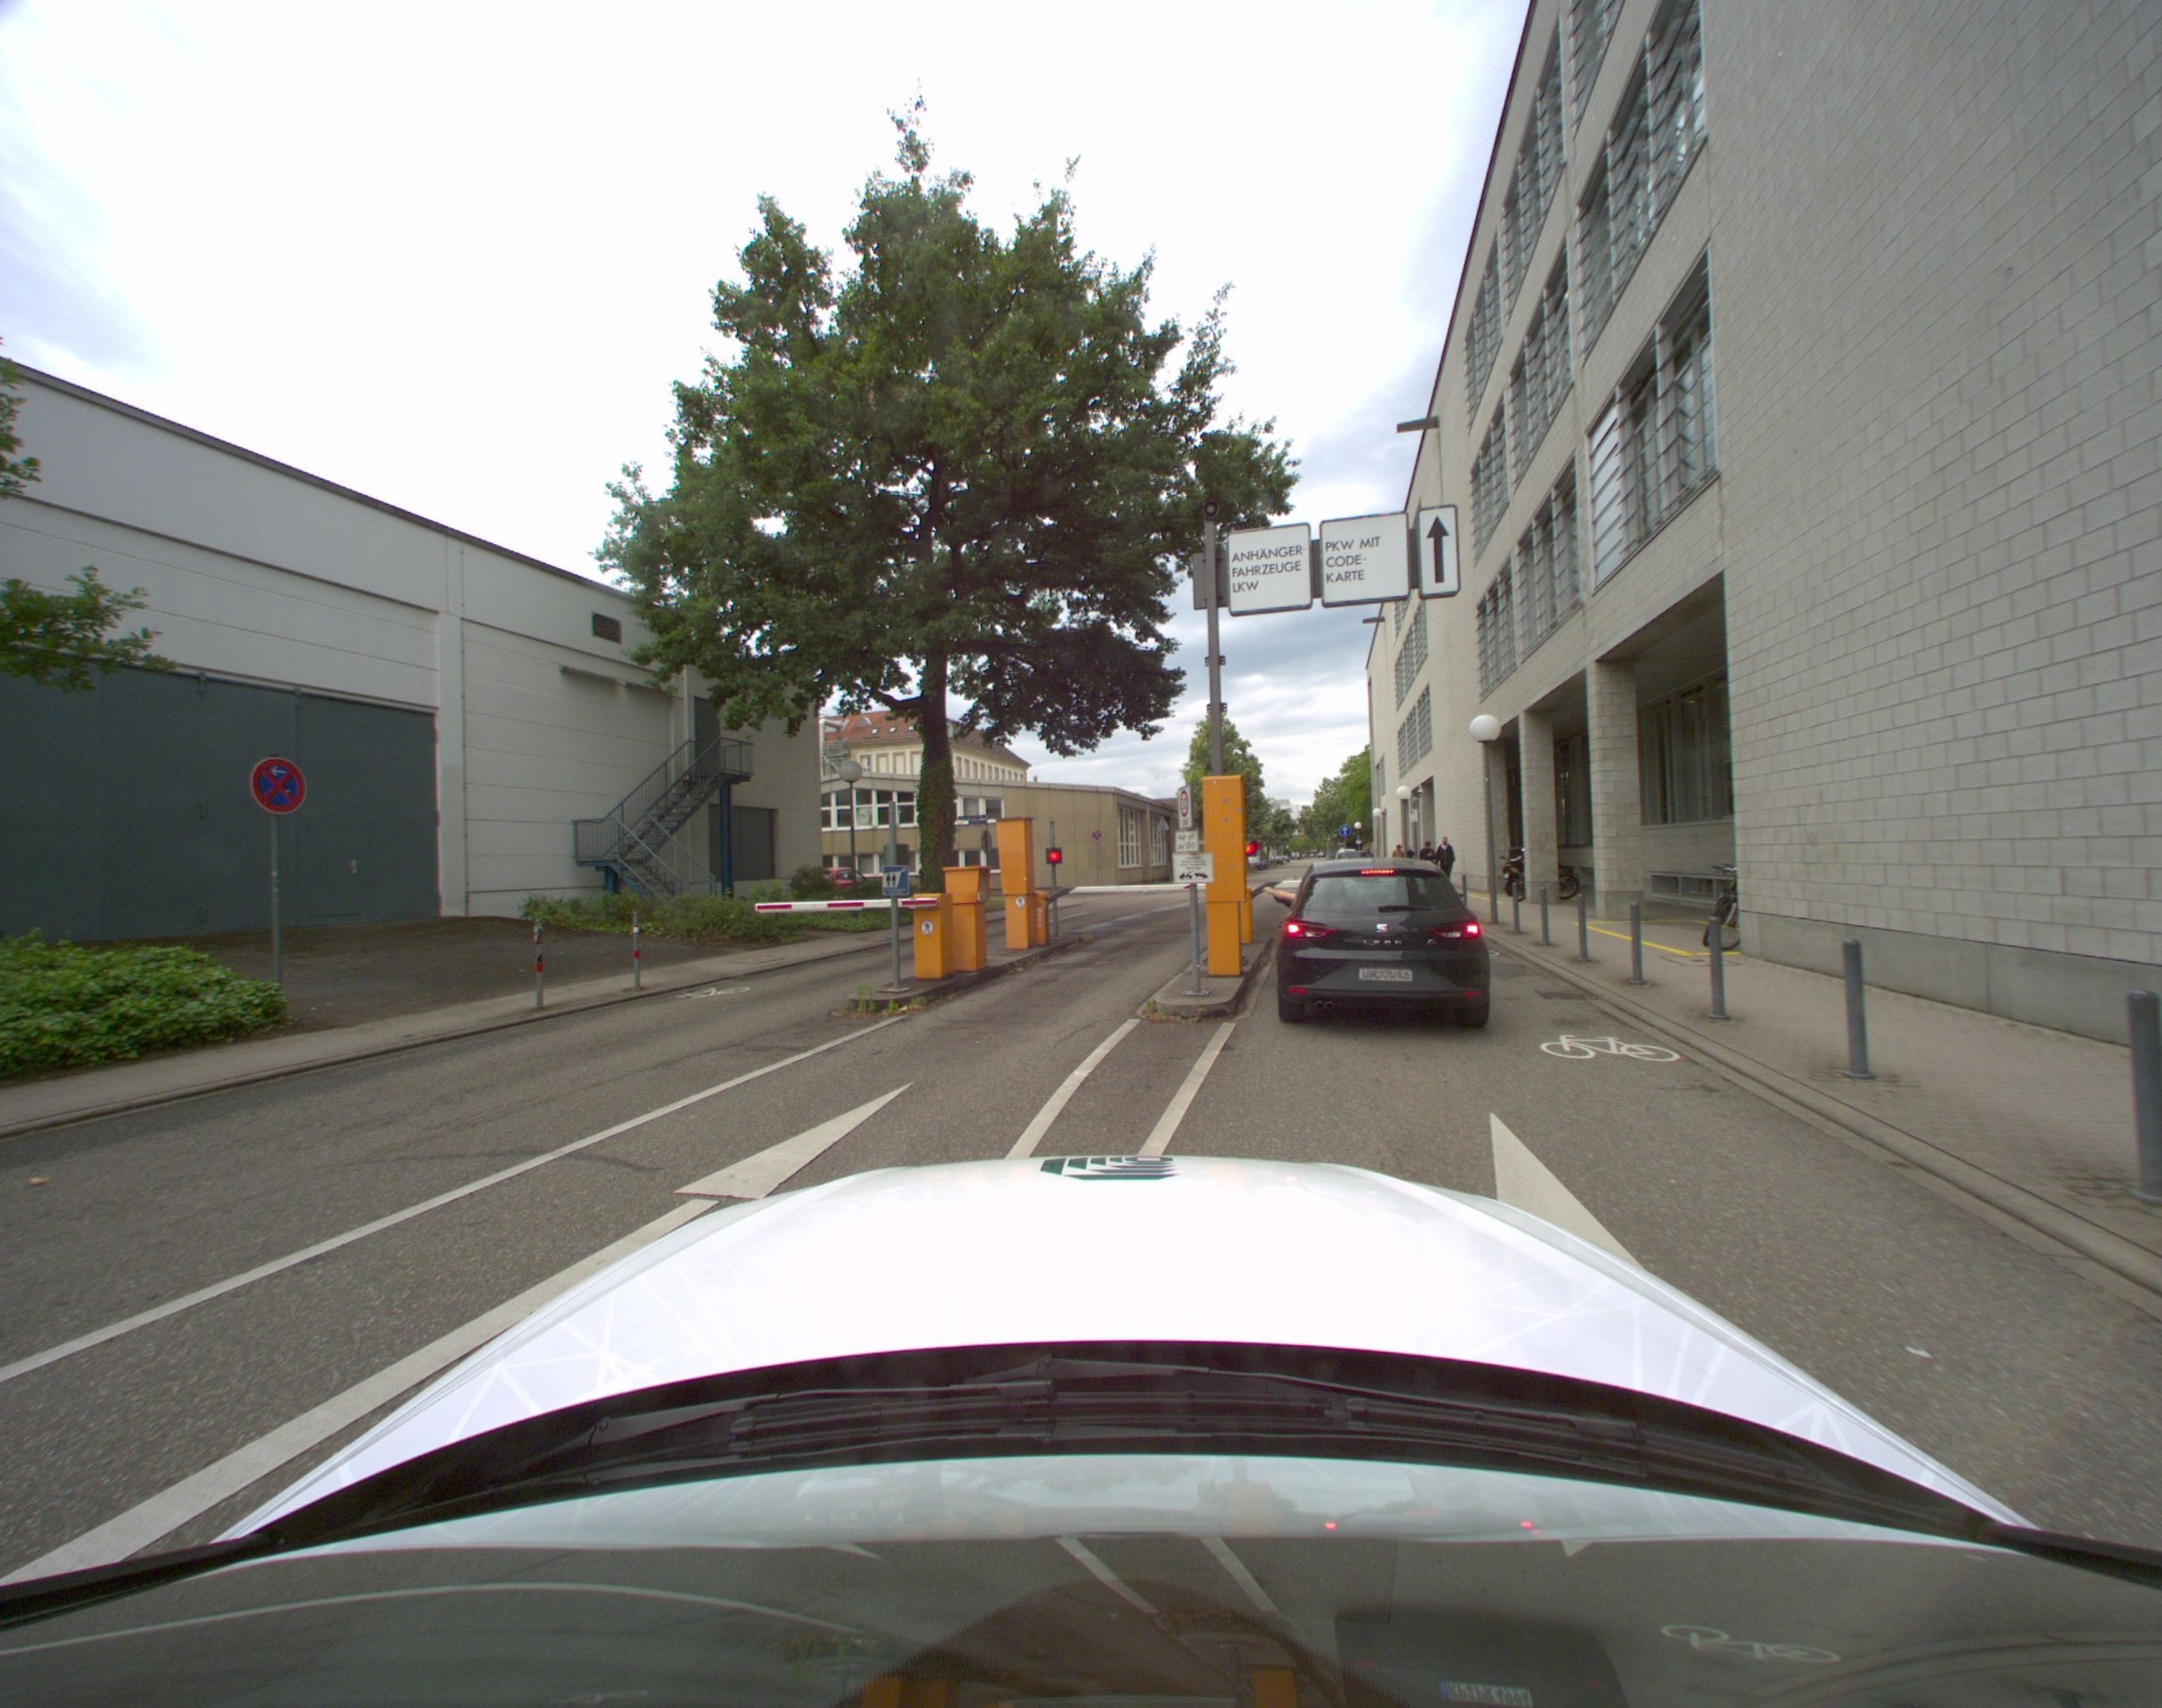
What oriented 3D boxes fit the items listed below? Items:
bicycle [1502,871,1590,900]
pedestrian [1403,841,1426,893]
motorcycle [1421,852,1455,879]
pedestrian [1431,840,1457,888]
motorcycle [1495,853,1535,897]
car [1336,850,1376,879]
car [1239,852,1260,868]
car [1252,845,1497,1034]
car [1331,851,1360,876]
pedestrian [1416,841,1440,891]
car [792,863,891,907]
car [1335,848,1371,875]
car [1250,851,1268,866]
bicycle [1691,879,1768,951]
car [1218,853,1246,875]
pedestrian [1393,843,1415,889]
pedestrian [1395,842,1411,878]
[{"bbox_3d":[11.801,0.801,20.698,1.883,0.698,0.495,-1,2,12],"label":"bicycle"},{"bbox_3d":[11.354,0.430,27.717,0.606,1.714,0.577,-3,-1,17],"label":"pedestrian"},{"bbox_3d":[17.445,0.538,39.732,0.752,1.148,2.680,0,2,41],"label":"motorcycle"},{"bbox_3d":[13.086,0.358,29.385,0.723,1.698,0.590,-1,2,11],"label":"pedestrian"},{"bbox_3d":[12.682,0.591,23.764,0.560,1.148,2.231,0,2,41],"label":"motorcycle"},{"bbox_3d":[16.565,0.642,49.255,1.978,1.623,4.446,-3,-1,16],"label":"car"},{"bbox_3d":[17.665,0.594,85.300,1.756,1.601,4.017,-2,0,16],"label":"car"},{"bbox_3d":[2.824,0.659,8.352,1.769,1.419,4.147,-2,0,16],"label":"car"},{"bbox_3d":[21.403,0.738,65.915,1.978,1.782,4.447,-4,-1,16],"label":"car"},{"bbox_3d":[12.092,0.420,28.383,0.684,1.698,0.591,-1,2,16],"label":"pedestrian"},{"bbox_3d":[-9.369,1.187,32.167,1.849,1.530,4.017,-2,0,16],"label":"car"},{"bbox_3d":[17.845,0.486,53.621,1.978,1.622,4.447,-4,-1,16],"label":"car"},{"bbox_3d":[19.744,0.451,90.454,1.757,1.601,4.016,-2,0,14],"label":"car"},{"bbox_3d":[8.787,0.789,11.002,2.308,0.751,0.458,-3,-4,-44],"label":"bicycle"},{"bbox_3d":[11.755,0.787,63.183,1.757,1.601,4.016,-2,0,15],"label":"car"},{"bbox_3d":[12.260,0.467,30.928,0.691,1.714,0.491,-2,-1,13],"label":"pedestrian"},{"bbox_3d":[15.659,0.305,39.603,0.690,1.714,0.492,-2,-1,20],"label":"pedestrian"}]
